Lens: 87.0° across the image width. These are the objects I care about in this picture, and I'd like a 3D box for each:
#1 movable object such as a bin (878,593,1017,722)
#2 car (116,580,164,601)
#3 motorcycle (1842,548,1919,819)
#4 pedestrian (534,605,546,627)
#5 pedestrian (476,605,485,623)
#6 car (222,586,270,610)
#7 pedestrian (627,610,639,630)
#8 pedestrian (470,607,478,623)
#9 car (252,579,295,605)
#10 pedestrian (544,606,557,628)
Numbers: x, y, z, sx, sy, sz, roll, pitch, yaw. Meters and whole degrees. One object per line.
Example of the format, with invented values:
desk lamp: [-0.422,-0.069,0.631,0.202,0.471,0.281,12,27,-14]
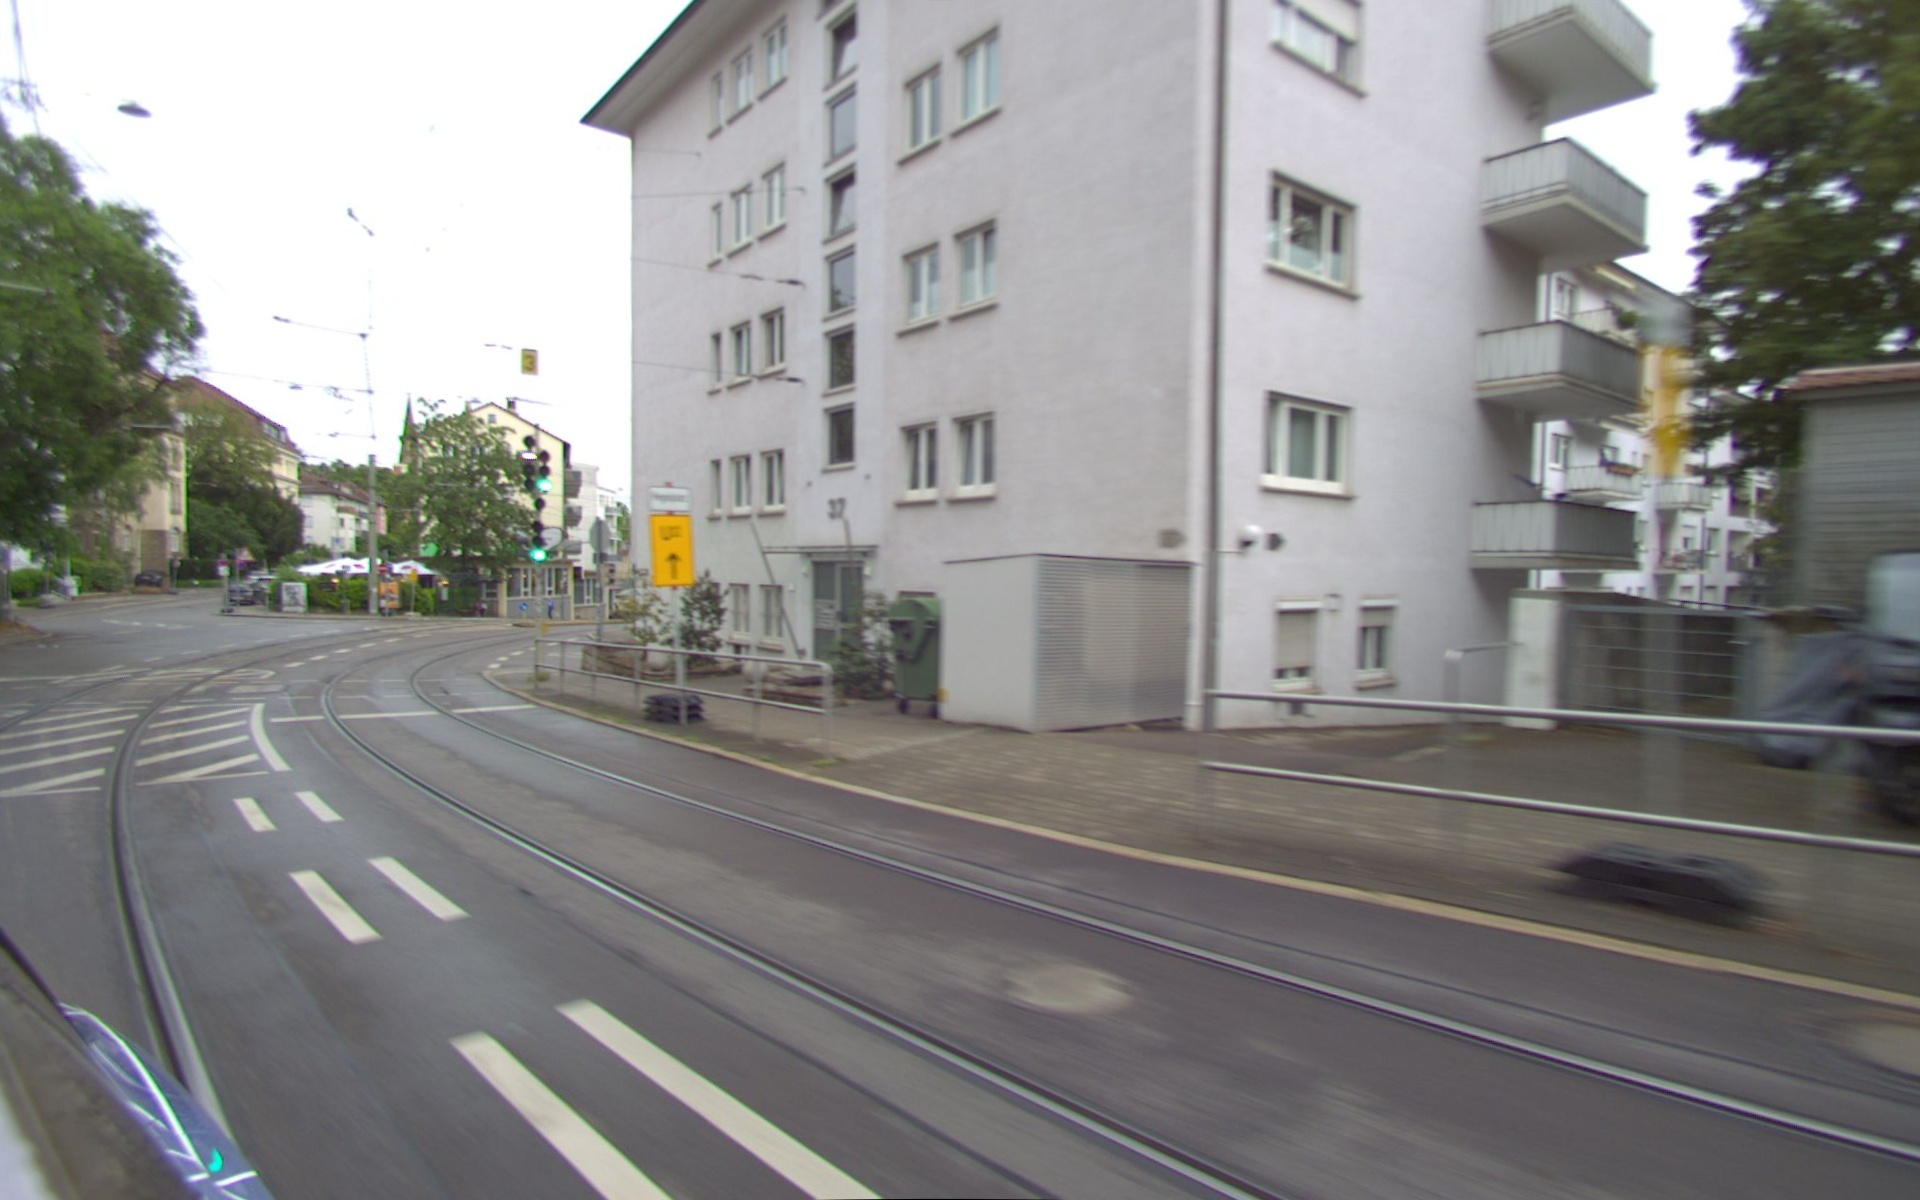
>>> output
movable object such as a bin: [-0.171,0.700,12.505,1.170,1.473,1.292,2,-3,-39]
car: [-60.476,-0.661,74.700,1.572,1.351,3.645,0,-3,-19]
motorcycle: [6.404,0.520,6.703,1.899,1.613,0.597,2,-4,-43]
pedestrian: [-30.252,1.148,72.873,0.540,1.566,0.558,3,-3,4]
pedestrian: [-31.284,0.898,66.050,0.321,1.159,0.317,4,-3,2]
car: [-45.386,-0.109,64.393,1.664,1.453,3.817,2,-1,-22]
pedestrian: [-29.242,1.802,90.629,0.714,1.727,0.605,2,-3,15]
pedestrian: [-31.545,0.947,65.707,0.321,1.002,0.317,4,-3,2]
car: [-48.047,-0.546,70.900,1.664,1.703,3.817,2,-1,-22]
pedestrian: [-29.432,1.217,72.776,0.583,1.566,0.649,2,-3,5]
